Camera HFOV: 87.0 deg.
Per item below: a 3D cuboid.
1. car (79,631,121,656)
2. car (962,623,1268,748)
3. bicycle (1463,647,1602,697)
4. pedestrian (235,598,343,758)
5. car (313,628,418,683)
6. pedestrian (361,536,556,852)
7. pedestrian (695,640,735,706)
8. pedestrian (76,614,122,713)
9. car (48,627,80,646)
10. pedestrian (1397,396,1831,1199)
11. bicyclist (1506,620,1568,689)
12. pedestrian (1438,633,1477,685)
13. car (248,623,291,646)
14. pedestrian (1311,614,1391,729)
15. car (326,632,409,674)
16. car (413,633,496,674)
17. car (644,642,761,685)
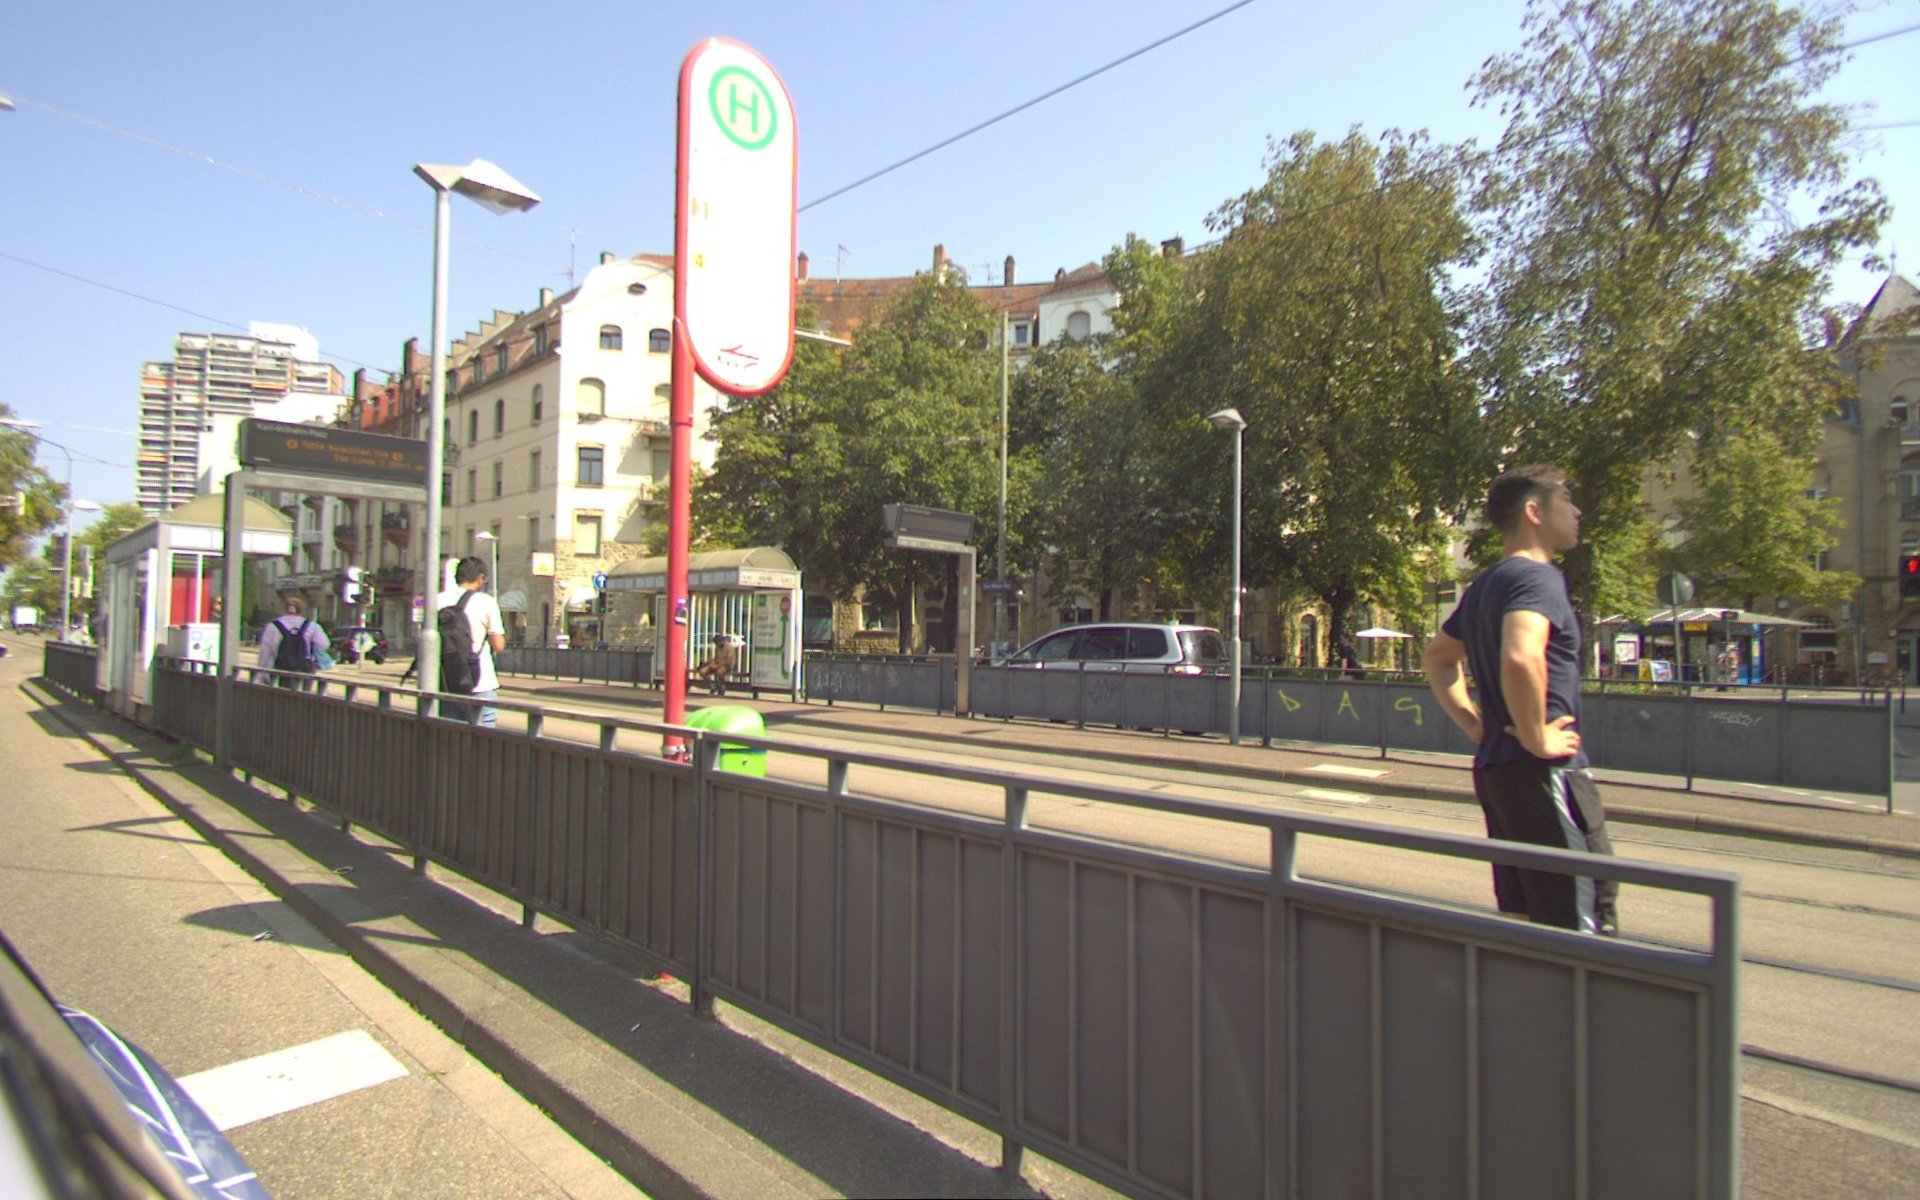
[{"bbox_3d":[-65.203,3.293,76.674,1.971,1.739,4.633,5,-5,-45],"label":"car"},{"bbox_3d":[2.386,1.303,16.425,4.633,1.739,1.971,-2,-5,45],"label":"car"},{"bbox_3d":[17.340,2.166,30.724,3.439,1.447,1.221,0,-3,3],"label":"bicycle"},{"bbox_3d":[-7.085,0.806,10.689,0.853,1.596,0.729,-2,-4,44],"label":"pedestrian"},{"bbox_3d":[-20.308,1.878,34.491,1.970,1.739,4.634,5,-5,-44],"label":"car"},{"bbox_3d":[-3.259,0.578,6.603,0.918,1.899,0.670,-1,-3,25],"label":"pedestrian"},{"bbox_3d":[-4.860,1.436,20.051,0.473,1.260,0.649,3,-4,-45],"label":"pedestrian"},{"bbox_3d":[-15.186,1.110,17.843,0.528,1.706,0.833,3,-4,-43],"label":"pedestrian"},{"bbox_3d":[-85.156,3.450,96.166,1.971,1.739,4.633,5,-5,-45],"label":"car"},{"bbox_3d":[1.735,0.483,2.868,0.668,1.899,0.920,0,-3,8],"label":"pedestrian"},{"bbox_3d":[17.518,1.646,30.746,1.195,2.029,1.209,1,-2,2],"label":"bicyclist"},{"bbox_3d":[19.870,2.351,40.425,1.020,2.029,1.096,1,-2,-41],"label":"pedestrian"},{"bbox_3d":[-54.833,2.743,80.341,1.971,1.739,4.633,5,-5,-45],"label":"car"},{"bbox_3d":[7.236,1.281,18.720,1.037,2.029,1.079,-1,-2,44],"label":"pedestrian"},{"bbox_3d":[-25.928,2.293,44.239,1.971,1.739,4.633,5,-5,-45],"label":"car"},{"bbox_3d":[-23.075,2.431,46.131,1.971,1.739,4.633,5,-5,-45],"label":"car"},{"bbox_3d":[-11.159,2.771,44.116,4.564,1.739,2.001,1,-3,-2],"label":"car"}]
